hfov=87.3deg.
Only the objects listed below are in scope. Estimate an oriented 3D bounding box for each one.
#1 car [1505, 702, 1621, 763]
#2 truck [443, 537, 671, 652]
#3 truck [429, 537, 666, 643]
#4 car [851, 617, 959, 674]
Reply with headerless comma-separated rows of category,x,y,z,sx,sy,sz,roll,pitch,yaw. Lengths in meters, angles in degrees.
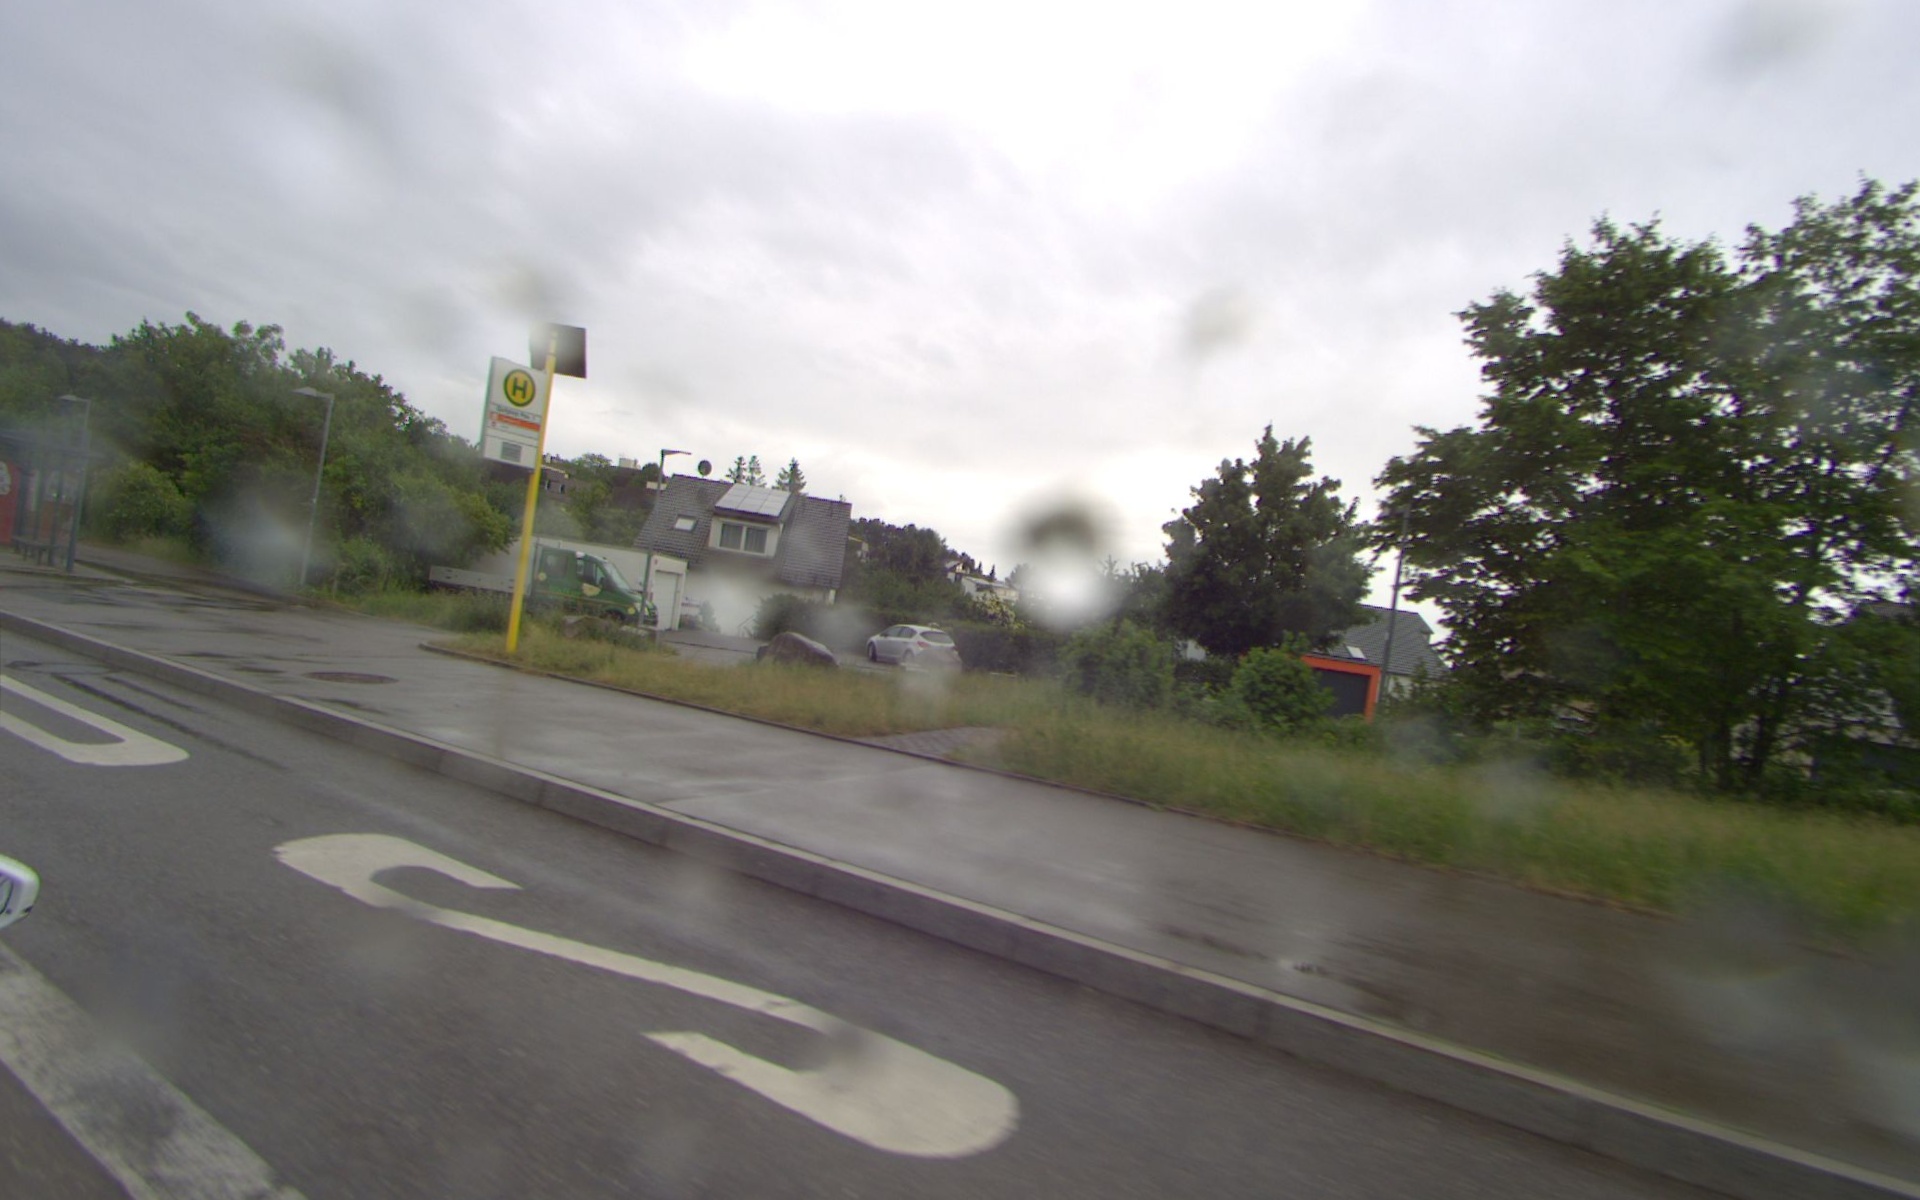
car,24.455,5.340,40.972,1.944,1.770,3.998,8,-1,-4
truck,-11.463,-0.105,29.024,5.537,2.555,1.999,7,-1,-7
truck,-11.717,-0.243,28.934,5.747,2.133,1.999,8,-2,-6
car,-1.987,1.563,35.138,1.746,1.448,4.170,9,-2,-34
